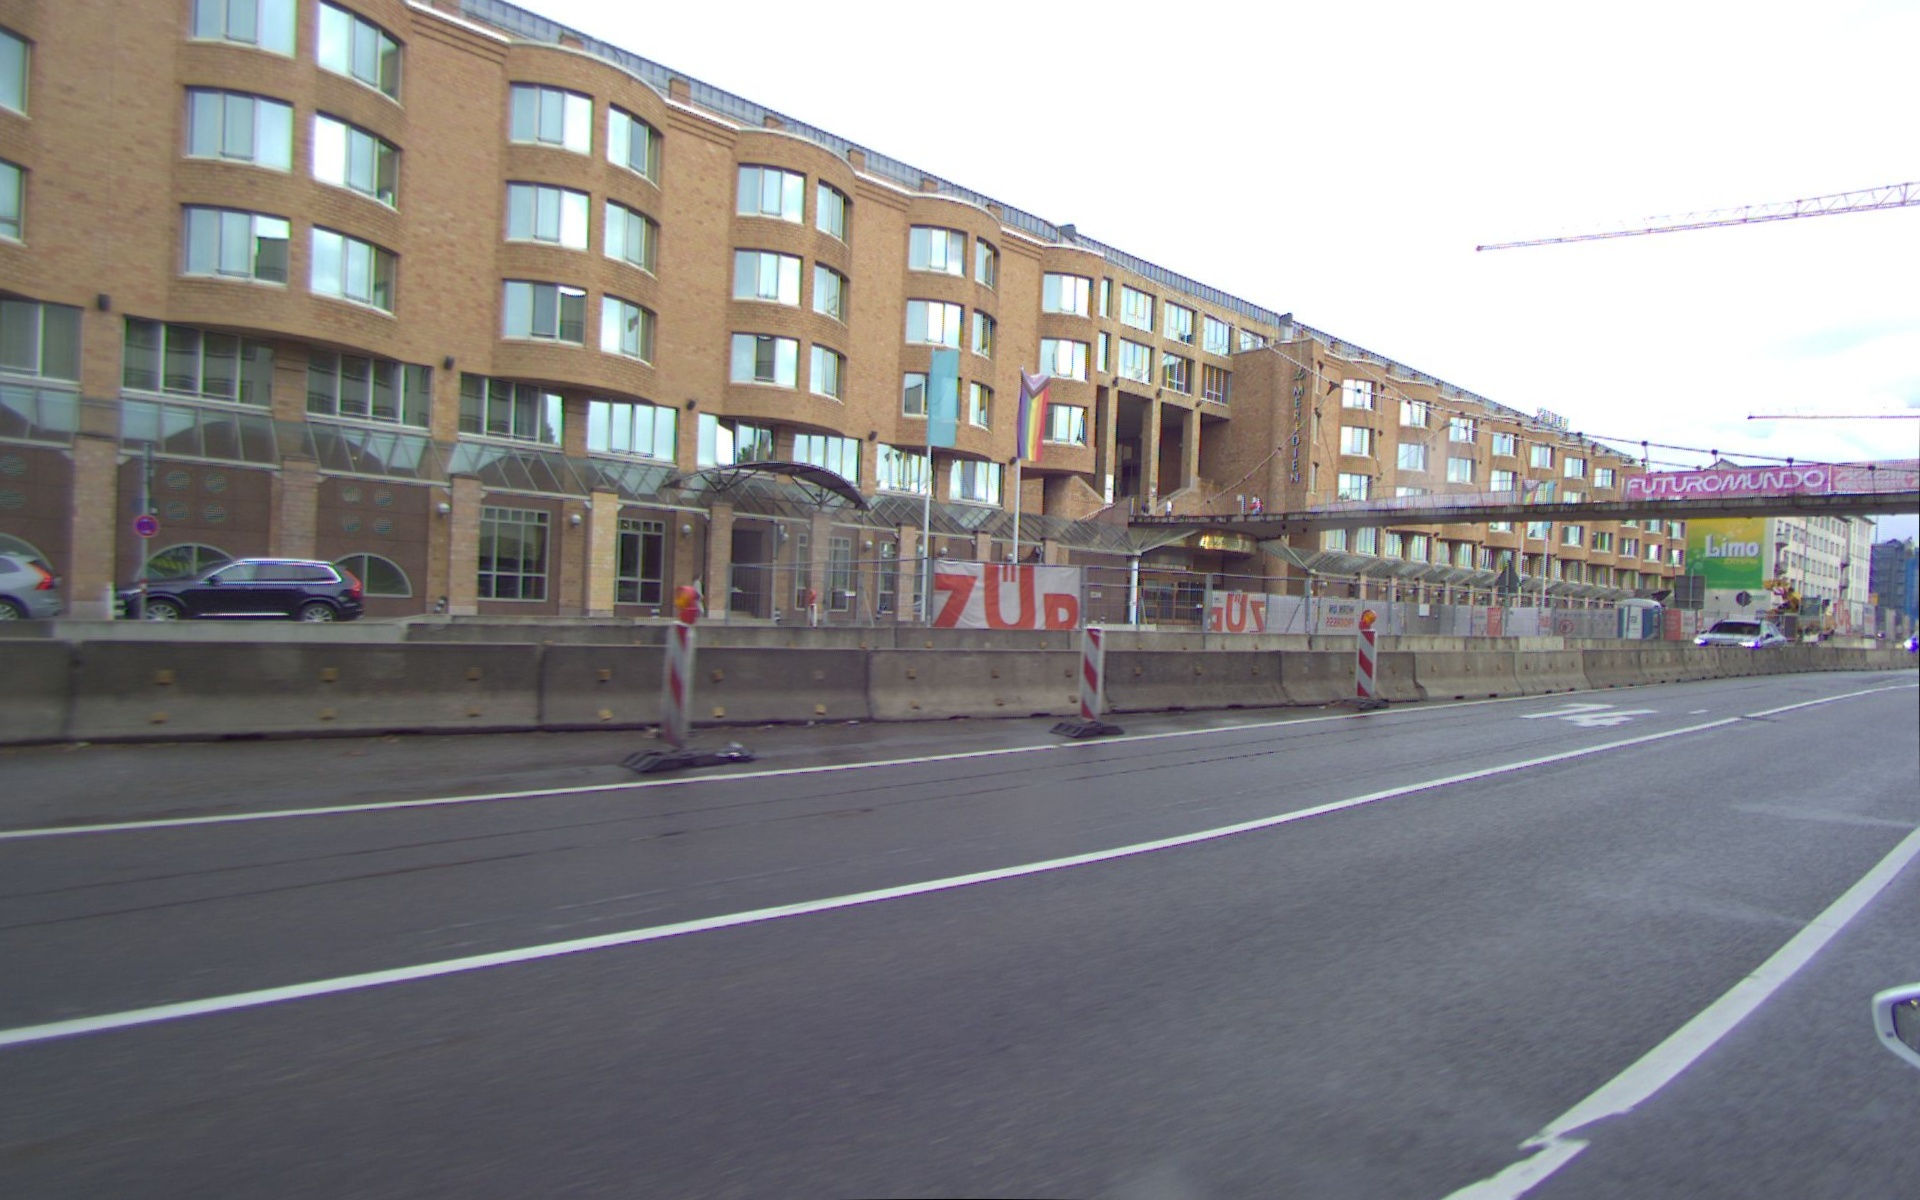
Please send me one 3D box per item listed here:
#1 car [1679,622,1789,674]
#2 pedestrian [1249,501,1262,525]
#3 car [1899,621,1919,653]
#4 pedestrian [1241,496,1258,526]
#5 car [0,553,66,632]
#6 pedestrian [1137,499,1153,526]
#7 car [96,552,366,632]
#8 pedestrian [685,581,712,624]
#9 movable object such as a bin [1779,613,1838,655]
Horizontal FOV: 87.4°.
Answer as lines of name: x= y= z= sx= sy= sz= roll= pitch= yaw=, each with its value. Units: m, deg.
car: x=27.134 y=1.621 z=35.145 sx=4.660 sy=1.645 sz=1.978 roll=1 pitch=0 yaw=-38
pedestrian: x=15.876 y=-4.660 z=53.999 sx=0.479 sy=1.210 sz=0.472 roll=1 pitch=0 yaw=-36
car: x=54.433 y=2.052 z=56.455 sx=3.867 sy=1.645 sz=1.792 roll=-1 pitch=1 yaw=-37
pedestrian: x=15.408 y=-4.720 z=53.374 sx=0.612 sy=1.471 sz=0.616 roll=1 pitch=0 yaw=-36
car: x=-21.236 y=-0.189 z=20.439 sx=4.506 sy=1.615 sz=1.975 roll=1 pitch=1 yaw=-42
pedestrian: x=10.742 y=-5.060 z=58.282 sx=0.612 sy=1.471 sz=0.616 roll=1 pitch=0 yaw=-36
car: x=-17.162 y=-0.148 z=23.881 sx=5.006 sy=1.713 sz=1.978 roll=1 pitch=1 yaw=-39
pedestrian: x=-9.062 y=0.102 z=34.829 sx=0.729 sy=1.471 sz=0.612 roll=1 pitch=0 yaw=-37
movable object such as a bin: x=48.671 y=1.960 z=57.606 sx=4.262 sy=2.307 sz=2.008 roll=2 pitch=-3 yaw=-43
